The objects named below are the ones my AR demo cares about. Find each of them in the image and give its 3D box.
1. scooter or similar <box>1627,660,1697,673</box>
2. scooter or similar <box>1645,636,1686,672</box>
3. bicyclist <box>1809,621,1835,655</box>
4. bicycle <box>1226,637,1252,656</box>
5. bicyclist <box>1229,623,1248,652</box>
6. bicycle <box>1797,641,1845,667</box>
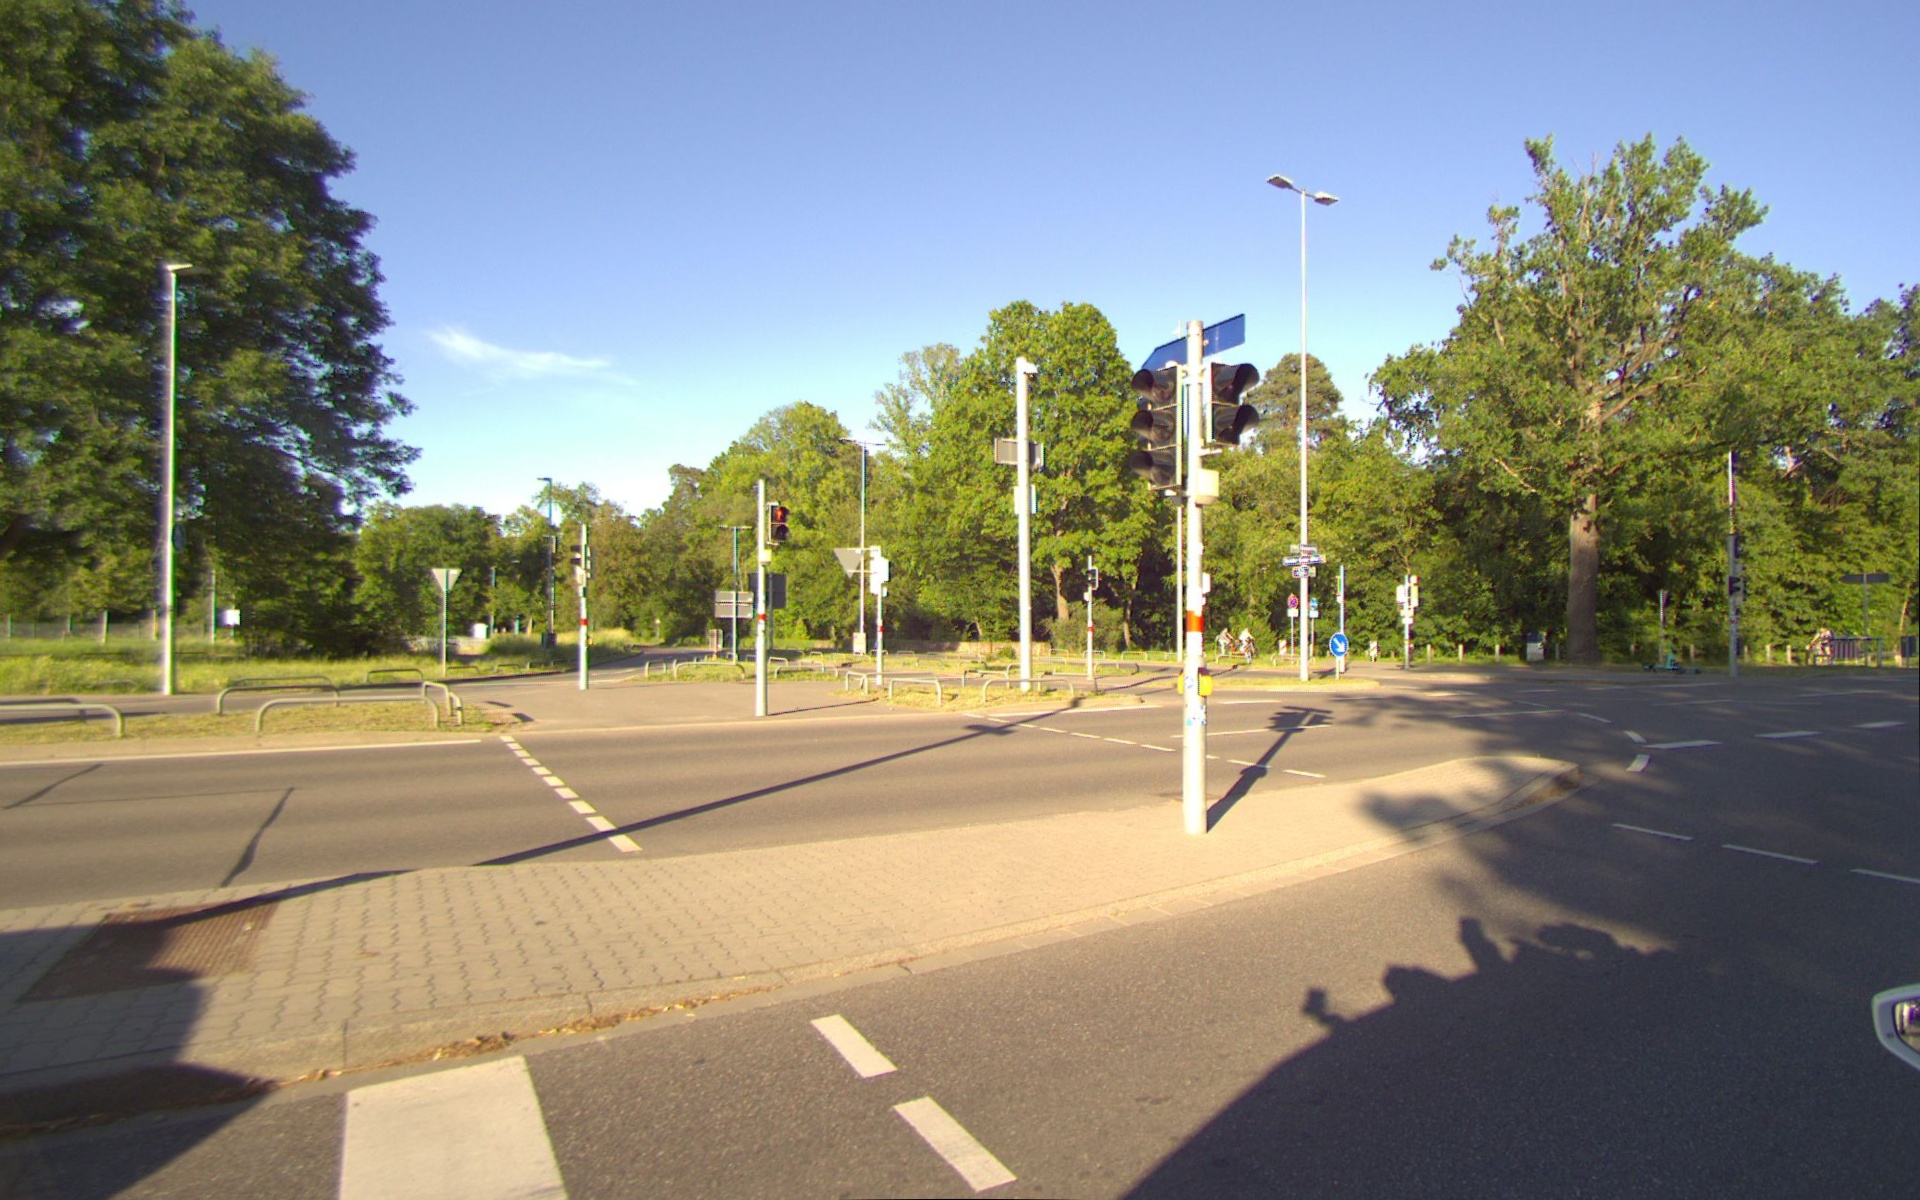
[{"bbox_3d":[22.446,2.112,32.131,1.241,0.344,1.405,0,-2,-21],"label":"scooter or similar"},{"bbox_3d":[23.588,1.785,33.596,0.388,1.162,1.065,0,-1,-21],"label":"scooter or similar"},{"bbox_3d":[40.654,1.767,47.359,0.786,1.572,0.563,-1,0,-12],"label":"bicyclist"},{"bbox_3d":[15.158,2.530,54.591,0.770,0.990,1.588,1,-1,-8],"label":"bicycle"},{"bbox_3d":[15.163,2.031,54.678,0.716,1.502,0.799,1,0,-8],"label":"bicyclist"},{"bbox_3d":[40.598,2.533,47.362,1.949,1.169,0.681,-1,0,-11],"label":"bicycle"}]
